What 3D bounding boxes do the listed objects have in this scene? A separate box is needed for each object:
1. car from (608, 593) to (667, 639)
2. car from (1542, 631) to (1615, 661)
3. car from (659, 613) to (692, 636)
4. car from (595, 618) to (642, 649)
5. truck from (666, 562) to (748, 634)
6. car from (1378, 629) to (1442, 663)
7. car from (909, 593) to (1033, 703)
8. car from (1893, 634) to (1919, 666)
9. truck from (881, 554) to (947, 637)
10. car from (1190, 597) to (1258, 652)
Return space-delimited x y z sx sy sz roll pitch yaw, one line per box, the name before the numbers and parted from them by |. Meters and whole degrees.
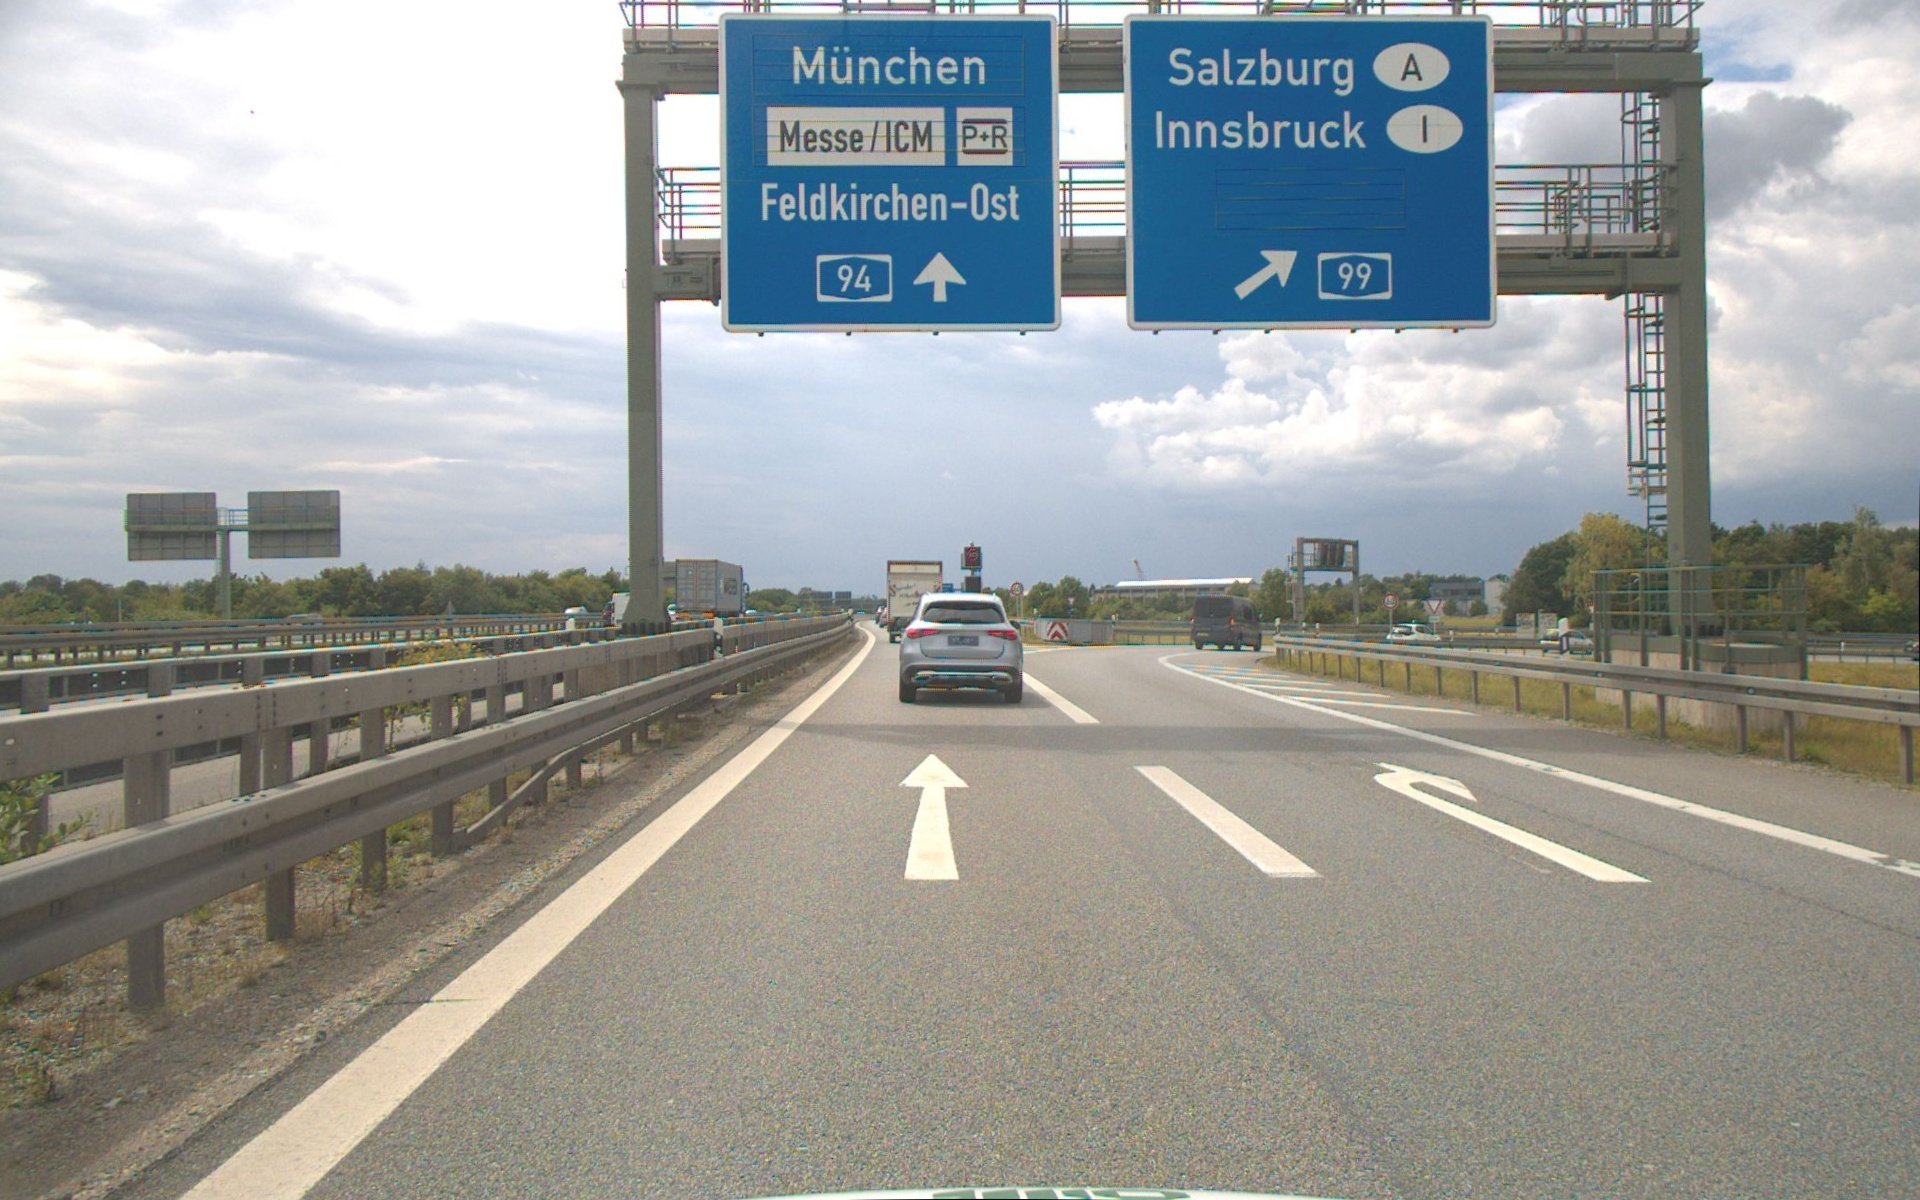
car | -15.080 0.733 77.627 1.953 2.049 4.374 0 1 -1
car | 38.423 2.830 102.808 3.930 1.739 1.988 0 1 -21
car | -19.744 1.699 115.070 1.762 1.444 3.998 0 1 -3
car | -19.275 1.879 93.526 1.843 1.573 4.614 0 1 -1
truck | -15.467 -0.209 102.300 3.119 4.089 16.069 0 1 -2
car | 25.787 2.614 94.717 1.965 1.739 3.976 1 1 42
car | 0.123 0.690 25.931 1.782 1.541 3.999 0 1 -1
car | 65.040 3.451 110.941 3.912 2.048 1.780 4 0 -8
truck | -1.841 -0.131 68.136 2.517 3.181 8.632 0 -1 -1
car | 11.605 1.024 72.495 1.868 2.301 4.647 1 1 23
